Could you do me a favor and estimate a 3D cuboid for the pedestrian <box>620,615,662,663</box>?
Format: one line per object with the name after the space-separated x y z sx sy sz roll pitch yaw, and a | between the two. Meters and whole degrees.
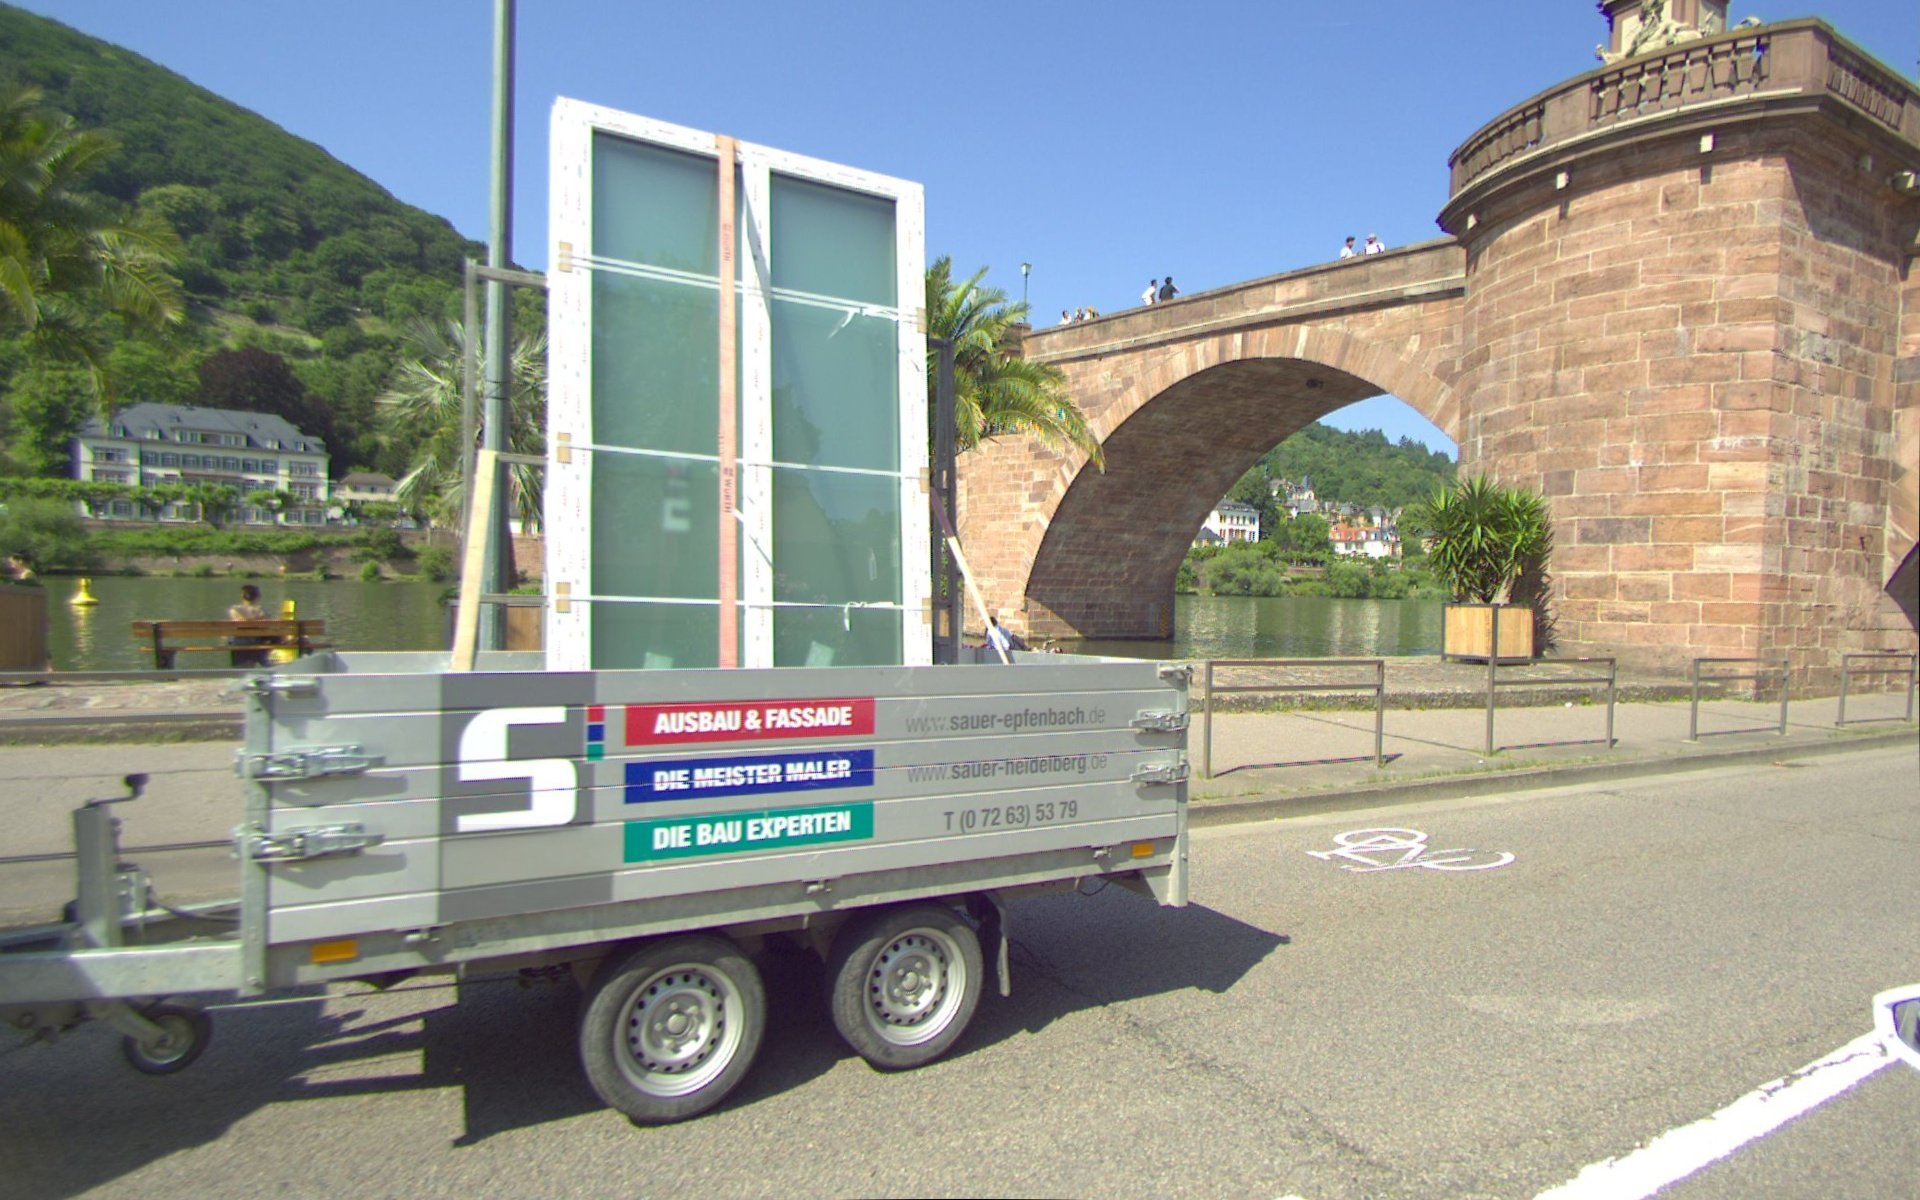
-5.351 0.648 16.842 0.595 0.752 0.694 1 1 -24 | pedestrian

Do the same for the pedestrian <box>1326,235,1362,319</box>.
10.659 -8.947 27.885 0.688 2.040 0.619 2 1 -36 | pedestrian

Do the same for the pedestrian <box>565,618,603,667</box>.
-6.169 0.688 16.456 0.523 0.752 0.694 1 1 -24 | pedestrian

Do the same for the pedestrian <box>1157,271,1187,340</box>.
7.154 -9.938 33.959 0.619 2.040 0.689 2 1 -33 | pedestrian

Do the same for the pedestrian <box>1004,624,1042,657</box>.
1.150 0.741 18.396 0.523 0.572 0.544 2 1 -16 | pedestrian

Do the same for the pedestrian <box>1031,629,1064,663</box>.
1.607 0.845 18.539 0.425 0.572 0.544 2 1 -16 | pedestrian

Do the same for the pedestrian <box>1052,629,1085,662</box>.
2.015 0.842 18.661 0.408 0.572 0.544 2 1 -16 | pedestrian

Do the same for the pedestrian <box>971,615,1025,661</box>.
0.660 0.657 17.710 0.700 0.753 0.786 2 1 -19 | pedestrian

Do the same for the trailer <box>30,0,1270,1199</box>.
-0.779 -0.350 3.612 3.342 3.364 1.735 2 0 -28 | trailer

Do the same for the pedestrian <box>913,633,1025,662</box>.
0.152 0.754 16.088 1.721 0.427 0.642 1 -1 -29 | pedestrian

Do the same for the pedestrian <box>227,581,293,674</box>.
-9.064 0.353 13.027 0.500 1.160 0.939 1 -1 -24 | pedestrian

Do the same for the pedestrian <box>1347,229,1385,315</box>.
11.091 -8.930 27.442 0.688 2.040 0.619 2 1 -36 | pedestrian

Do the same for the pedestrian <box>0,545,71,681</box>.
-11.601 0.145 12.480 0.667 1.622 0.594 3 2 24 | pedestrian
